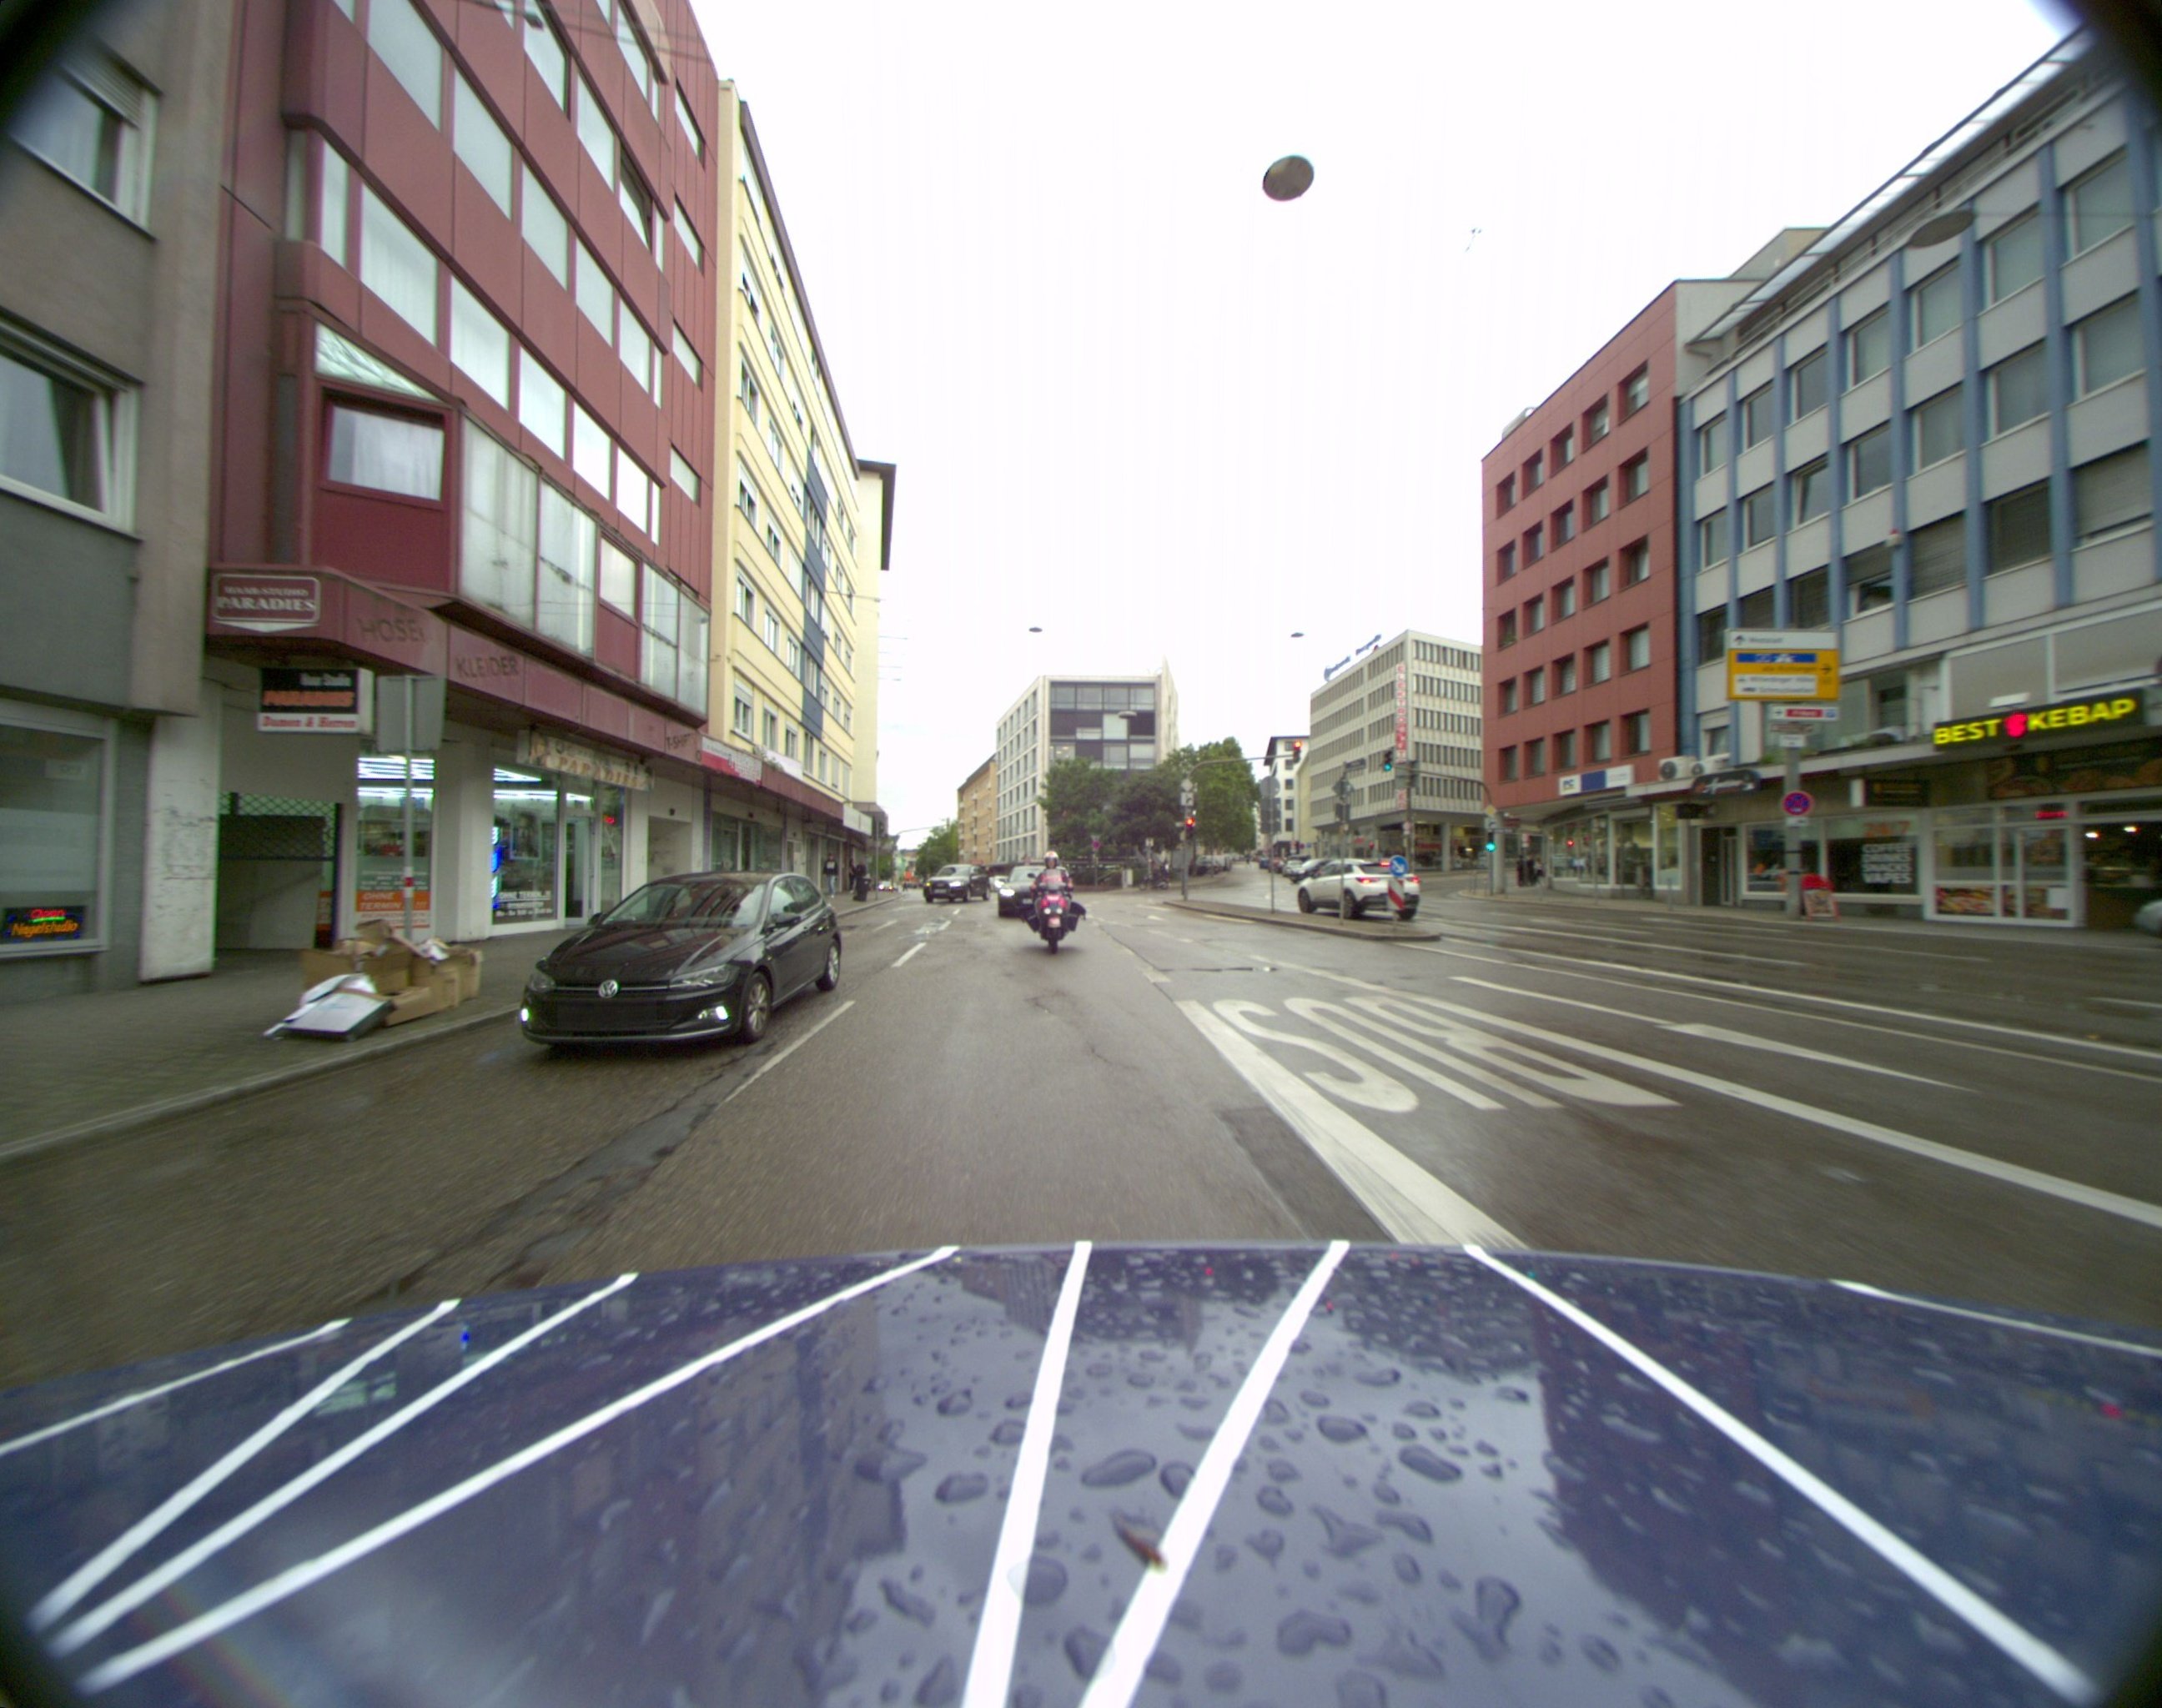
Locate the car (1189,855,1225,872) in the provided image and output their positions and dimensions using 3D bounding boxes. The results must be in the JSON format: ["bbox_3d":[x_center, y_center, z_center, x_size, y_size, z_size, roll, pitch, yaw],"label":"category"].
[{"bbox_3d":[13.292,1.022,80.230,3.540,1.550,1.742,-3,0,13],"label":"car"}]

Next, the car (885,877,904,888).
[{"bbox_3d":[-30.631,4.695,124.730,2.003,1.610,4.115,-1,0,-27],"label":"car"}]

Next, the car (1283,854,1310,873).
[{"bbox_3d":[19.692,0.874,69.578,1.999,1.621,4.619,-3,-1,12],"label":"car"}]

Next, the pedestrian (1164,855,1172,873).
[{"bbox_3d":[9.056,1.050,79.013,0.592,1.802,0.705,-3,-2,13],"label":"pedestrian"}]

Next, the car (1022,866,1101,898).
[{"bbox_3d":[-1.008,1.488,41.150,1.995,1.574,4.112,-3,-1,39],"label":"car"}]

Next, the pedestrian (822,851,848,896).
[{"bbox_3d":[-9.844,0.801,30.408,0.839,1.753,0.617,3,-3,-12],"label":"pedestrian"}]

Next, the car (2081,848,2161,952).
[{"bbox_3d":[17.737,0.685,10.286,1.870,1.599,4.879,-1,0,-3],"label":"car"}]

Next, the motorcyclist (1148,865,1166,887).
[{"bbox_3d":[5.197,1.515,52.134,1.112,1.434,0.912,-1,0,13],"label":"motorcyclist"}]

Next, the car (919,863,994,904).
[{"bbox_3d":[-5.109,1.197,31.816,1.870,1.538,4.107,-2,-1,8],"label":"car"}]

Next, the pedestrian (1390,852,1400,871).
[{"bbox_3d":[26.243,0.633,63.511,0.714,1.613,0.725,-1,0,15],"label":"pedestrian"}]

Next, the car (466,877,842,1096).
[{"bbox_3d":[-3.648,0.997,7.380,1.743,1.422,3.878,0,0,-5],"label":"car"}]

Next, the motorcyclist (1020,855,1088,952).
[{"bbox_3d":[-0.481,0.829,13.127,1.093,1.595,0.953,-2,0,-4],"label":"motorcyclist"}]

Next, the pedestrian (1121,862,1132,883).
[{"bbox_3d":[3.968,1.625,66.475,0.789,1.802,0.592,-2,-2,-12],"label":"pedestrian"}]

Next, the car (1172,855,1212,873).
[{"bbox_3d":[10.591,0.964,72.458,3.540,1.550,1.742,-3,0,16],"label":"car"}]

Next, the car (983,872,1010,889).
[{"bbox_3d":[-7.948,2.463,71.412,1.811,1.489,3.996,-2,-1,-16],"label":"car"}]

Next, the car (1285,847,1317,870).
[{"bbox_3d":[21.665,0.502,74.989,2.095,2.078,4.617,-2,-1,5],"label":"car"}]

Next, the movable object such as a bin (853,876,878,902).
[{"bbox_3d":[-8.137,1.338,28.728,0.530,0.928,0.674,3,-1,31],"label":"movable object such as a bin"}]

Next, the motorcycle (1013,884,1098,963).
[{"bbox_3d":[-0.490,1.133,13.085,1.313,1.128,2.184,-1,0,-5],"label":"motorcycle"}]

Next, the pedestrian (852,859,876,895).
[{"bbox_3d":[-10.399,1.094,36.448,0.753,1.712,0.754,-3,-1,17],"label":"pedestrian"}]

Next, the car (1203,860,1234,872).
[{"bbox_3d":[15.102,1.309,83.454,3.042,1.176,2.054,-3,0,16],"label":"car"}]

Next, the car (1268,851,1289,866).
[{"bbox_3d":[23.515,0.548,90.602,1.931,1.662,4.450,-2,-1,10],"label":"car"}]

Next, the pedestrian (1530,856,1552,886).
[{"bbox_3d":[24.988,0.938,41.266,0.734,1.619,0.693,-2,-1,-30],"label":"pedestrian"}]

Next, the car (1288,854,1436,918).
[{"bbox_3d":[7.697,0.867,21.351,2.000,1.542,4.426,-2,-1,-8],"label":"car"}]

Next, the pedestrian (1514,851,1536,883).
[{"bbox_3d":[24.763,0.731,42.375,0.744,1.737,0.732,-2,-1,-33],"label":"pedestrian"}]

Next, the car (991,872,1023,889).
[{"bbox_3d":[-6.334,2.260,64.842,1.976,1.379,3.996,2,-2,-16],"label":"car"}]

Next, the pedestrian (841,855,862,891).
[{"bbox_3d":[-11.546,0.935,38.165,0.616,1.752,0.790,-2,-1,17],"label":"pedestrian"}]

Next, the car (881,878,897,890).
[{"bbox_3d":[-24.958,3.839,98.560,1.787,1.444,3.995,-2,-2,-17],"label":"car"}]

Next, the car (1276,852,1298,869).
[{"bbox_3d":[22.683,0.714,83.778,2.024,1.739,4.619,-2,-1,12],"label":"car"}]

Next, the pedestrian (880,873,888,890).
[{"bbox_3d":[-19.163,2.687,73.896,0.738,1.636,0.641,-2,0,-14],"label":"pedestrian"}]

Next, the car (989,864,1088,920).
[{"bbox_3d":[-1.154,1.075,23.059,1.997,1.482,4.738,-1,0,9],"label":"car"}]

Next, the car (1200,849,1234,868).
[{"bbox_3d":[17.356,0.629,97.134,3.827,2.252,1.988,-3,0,27],"label":"car"}]

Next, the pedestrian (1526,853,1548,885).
[{"bbox_3d":[25.737,0.838,42.879,0.701,1.737,0.732,-2,-1,-33],"label":"pedestrian"}]

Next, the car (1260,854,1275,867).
[{"bbox_3d":[28.627,1.055,117.010,2.024,1.829,4.049,-2,-1,12],"label":"car"}]

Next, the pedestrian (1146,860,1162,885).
[{"bbox_3d":[5.302,1.369,55.470,0.783,1.739,0.788,-6,-1,-12],"label":"pedestrian"}]

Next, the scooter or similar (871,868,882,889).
[{"bbox_3d":[-13.704,1.642,50.843,0.377,1.352,1.148,-2,0,0],"label":"scooter or similar"}]

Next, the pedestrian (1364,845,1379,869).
[{"bbox_3d":[23.863,0.237,62.474,0.993,2.002,0.948,-1,0,11],"label":"pedestrian"}]

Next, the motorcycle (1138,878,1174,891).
[{"bbox_3d":[5.138,2.084,52.153,2.391,0.837,0.713,-1,0,13],"label":"motorcycle"}]

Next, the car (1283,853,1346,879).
[{"bbox_3d":[16.736,0.859,54.530,4.005,1.673,1.996,-2,0,-25],"label":"car"}]
